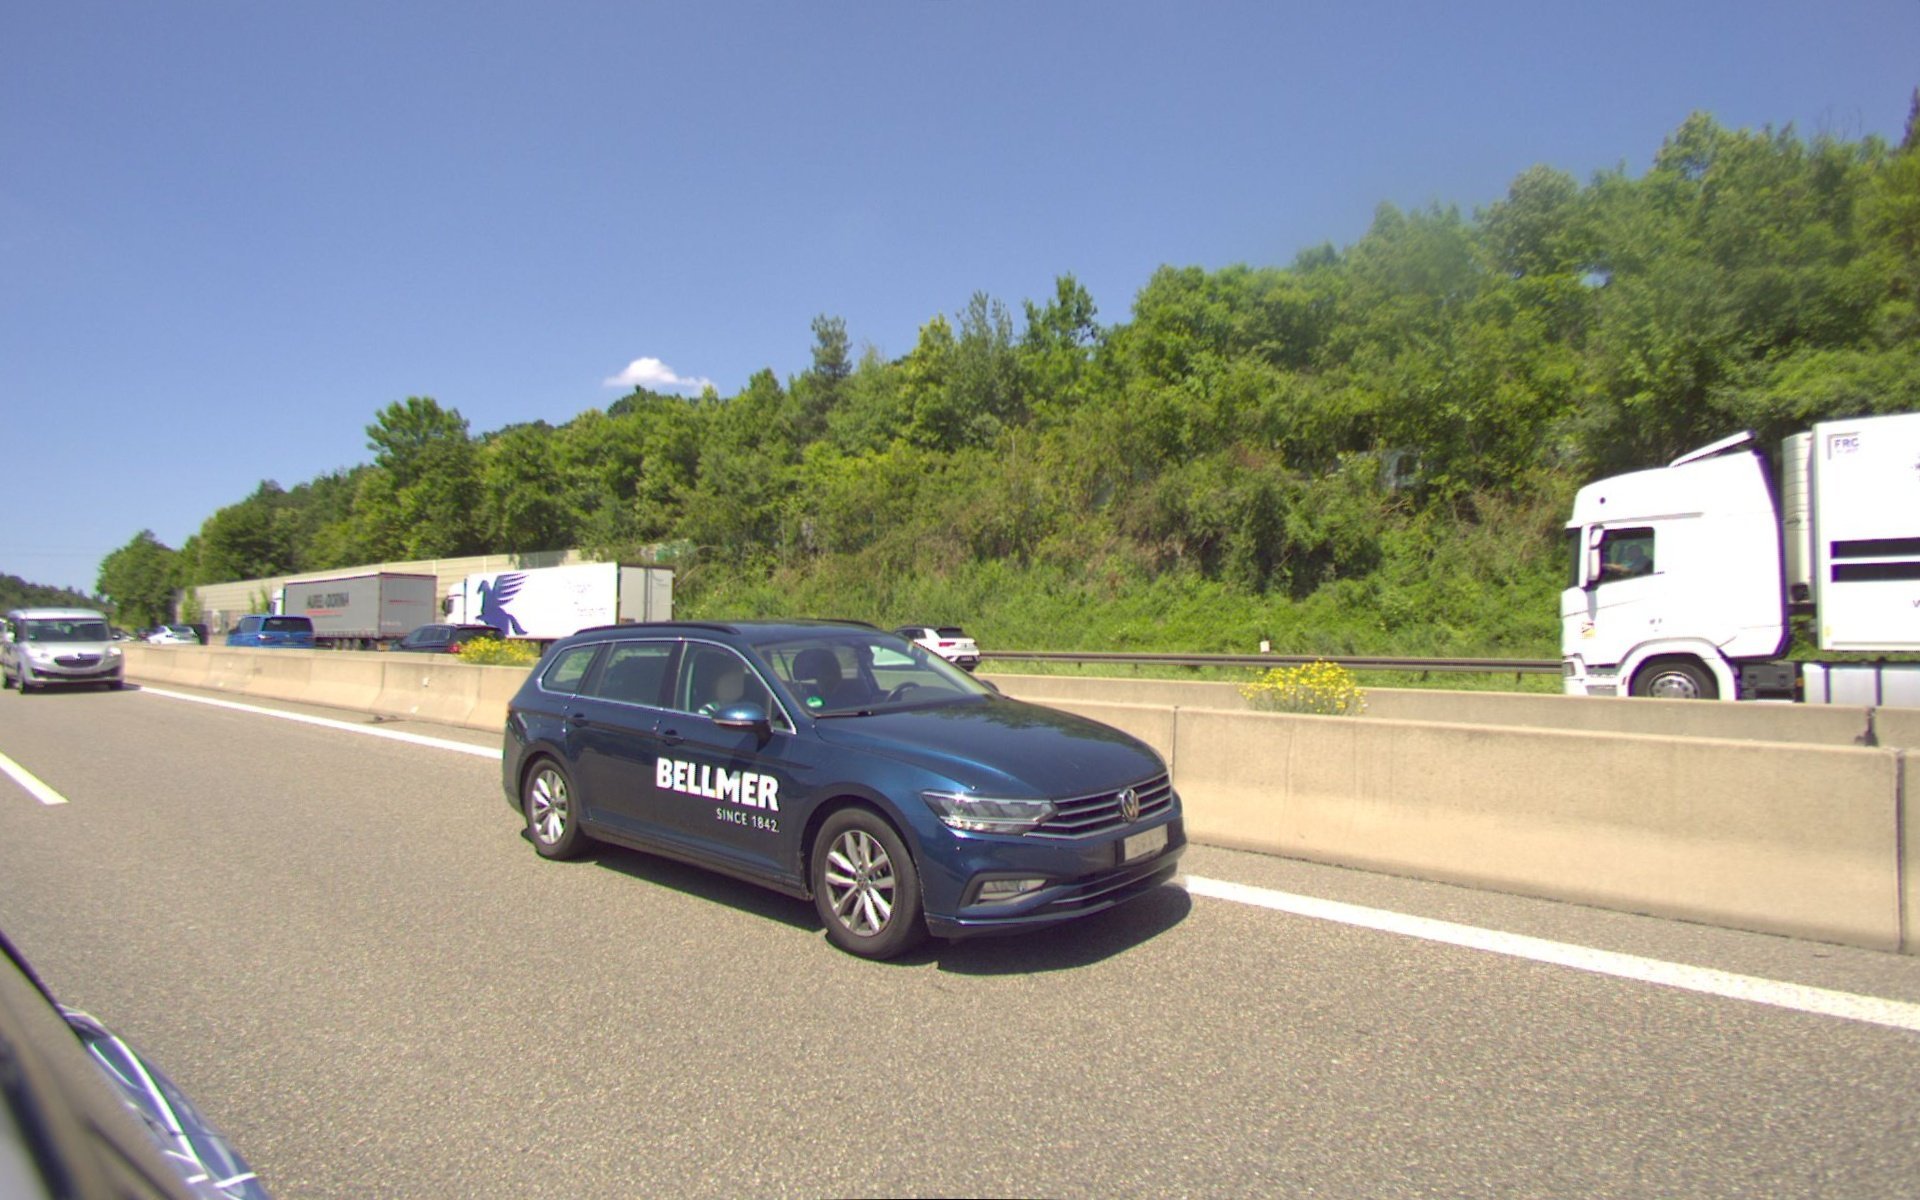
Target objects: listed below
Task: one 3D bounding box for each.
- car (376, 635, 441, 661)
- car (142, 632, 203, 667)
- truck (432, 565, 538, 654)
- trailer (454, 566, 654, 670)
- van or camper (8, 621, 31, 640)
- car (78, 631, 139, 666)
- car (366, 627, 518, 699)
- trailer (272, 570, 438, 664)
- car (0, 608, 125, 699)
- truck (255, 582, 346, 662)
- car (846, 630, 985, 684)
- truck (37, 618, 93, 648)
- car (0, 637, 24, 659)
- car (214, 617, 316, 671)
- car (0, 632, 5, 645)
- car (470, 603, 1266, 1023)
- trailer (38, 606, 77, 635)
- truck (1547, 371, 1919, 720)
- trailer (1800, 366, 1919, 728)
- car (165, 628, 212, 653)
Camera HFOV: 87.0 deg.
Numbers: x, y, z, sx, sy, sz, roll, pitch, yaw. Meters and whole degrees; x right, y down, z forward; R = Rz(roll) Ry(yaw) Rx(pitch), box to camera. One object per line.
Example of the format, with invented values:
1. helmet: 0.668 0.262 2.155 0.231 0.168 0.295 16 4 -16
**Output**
1. car: -30.671 2.659 56.257 4.499 1.381 1.744 -2 -2 42
2. car: -47.932 2.990 61.563 4.745 1.964 1.973 -1 -3 41
3. truck: -23.030 0.518 49.001 5.082 4.078 2.778 -1 -3 41
4. trailer: -18.313 0.819 44.868 12.621 4.078 2.778 -1 -3 41
5. van or camper: -140.342 4.532 150.984 2.243 2.756 6.811 3 -3 -44
6. car: -47.801 2.706 56.788 3.998 1.807 1.972 -1 -3 41
7. car: -13.168 1.515 25.623 4.535 1.652 1.886 -2 -2 41
8. trailer: -30.981 0.902 51.309 14.732 4.197 2.805 -1 -3 42
9. car: -20.308 1.171 22.734 3.998 1.858 1.757 -2 -3 42
10. truck: -36.862 1.242 56.486 5.657 4.246 2.811 -2 -2 41
11. car: -1.379 1.640 30.138 4.188 1.478 1.649 -2 -2 41
12. truck: -84.432 3.073 95.374 11.624 2.709 2.501 -1 -3 42
13. car: -83.393 4.139 88.376 4.692 1.815 1.926 -1 -3 42
14. car: -25.763 1.590 37.471 5.034 1.861 1.892 -1 -3 41
15. car: -106.937 4.271 111.855 4.269 1.386 1.597 -2 -3 42
16. car: -0.880 0.803 5.714 4.728 1.438 1.714 -2 -3 42
17. trailer: -128.920 2.931 144.455 13.827 3.938 2.782 -1 -3 43
18. truck: 12.330 -0.624 13.317 7.596 4.197 2.774 -1 -2 41
19. trailer: 16.920 -0.668 9.354 14.029 4.371 2.774 -1 -2 41
20. car: -57.628 2.986 75.573 4.859 1.823 1.717 -1 -3 39
